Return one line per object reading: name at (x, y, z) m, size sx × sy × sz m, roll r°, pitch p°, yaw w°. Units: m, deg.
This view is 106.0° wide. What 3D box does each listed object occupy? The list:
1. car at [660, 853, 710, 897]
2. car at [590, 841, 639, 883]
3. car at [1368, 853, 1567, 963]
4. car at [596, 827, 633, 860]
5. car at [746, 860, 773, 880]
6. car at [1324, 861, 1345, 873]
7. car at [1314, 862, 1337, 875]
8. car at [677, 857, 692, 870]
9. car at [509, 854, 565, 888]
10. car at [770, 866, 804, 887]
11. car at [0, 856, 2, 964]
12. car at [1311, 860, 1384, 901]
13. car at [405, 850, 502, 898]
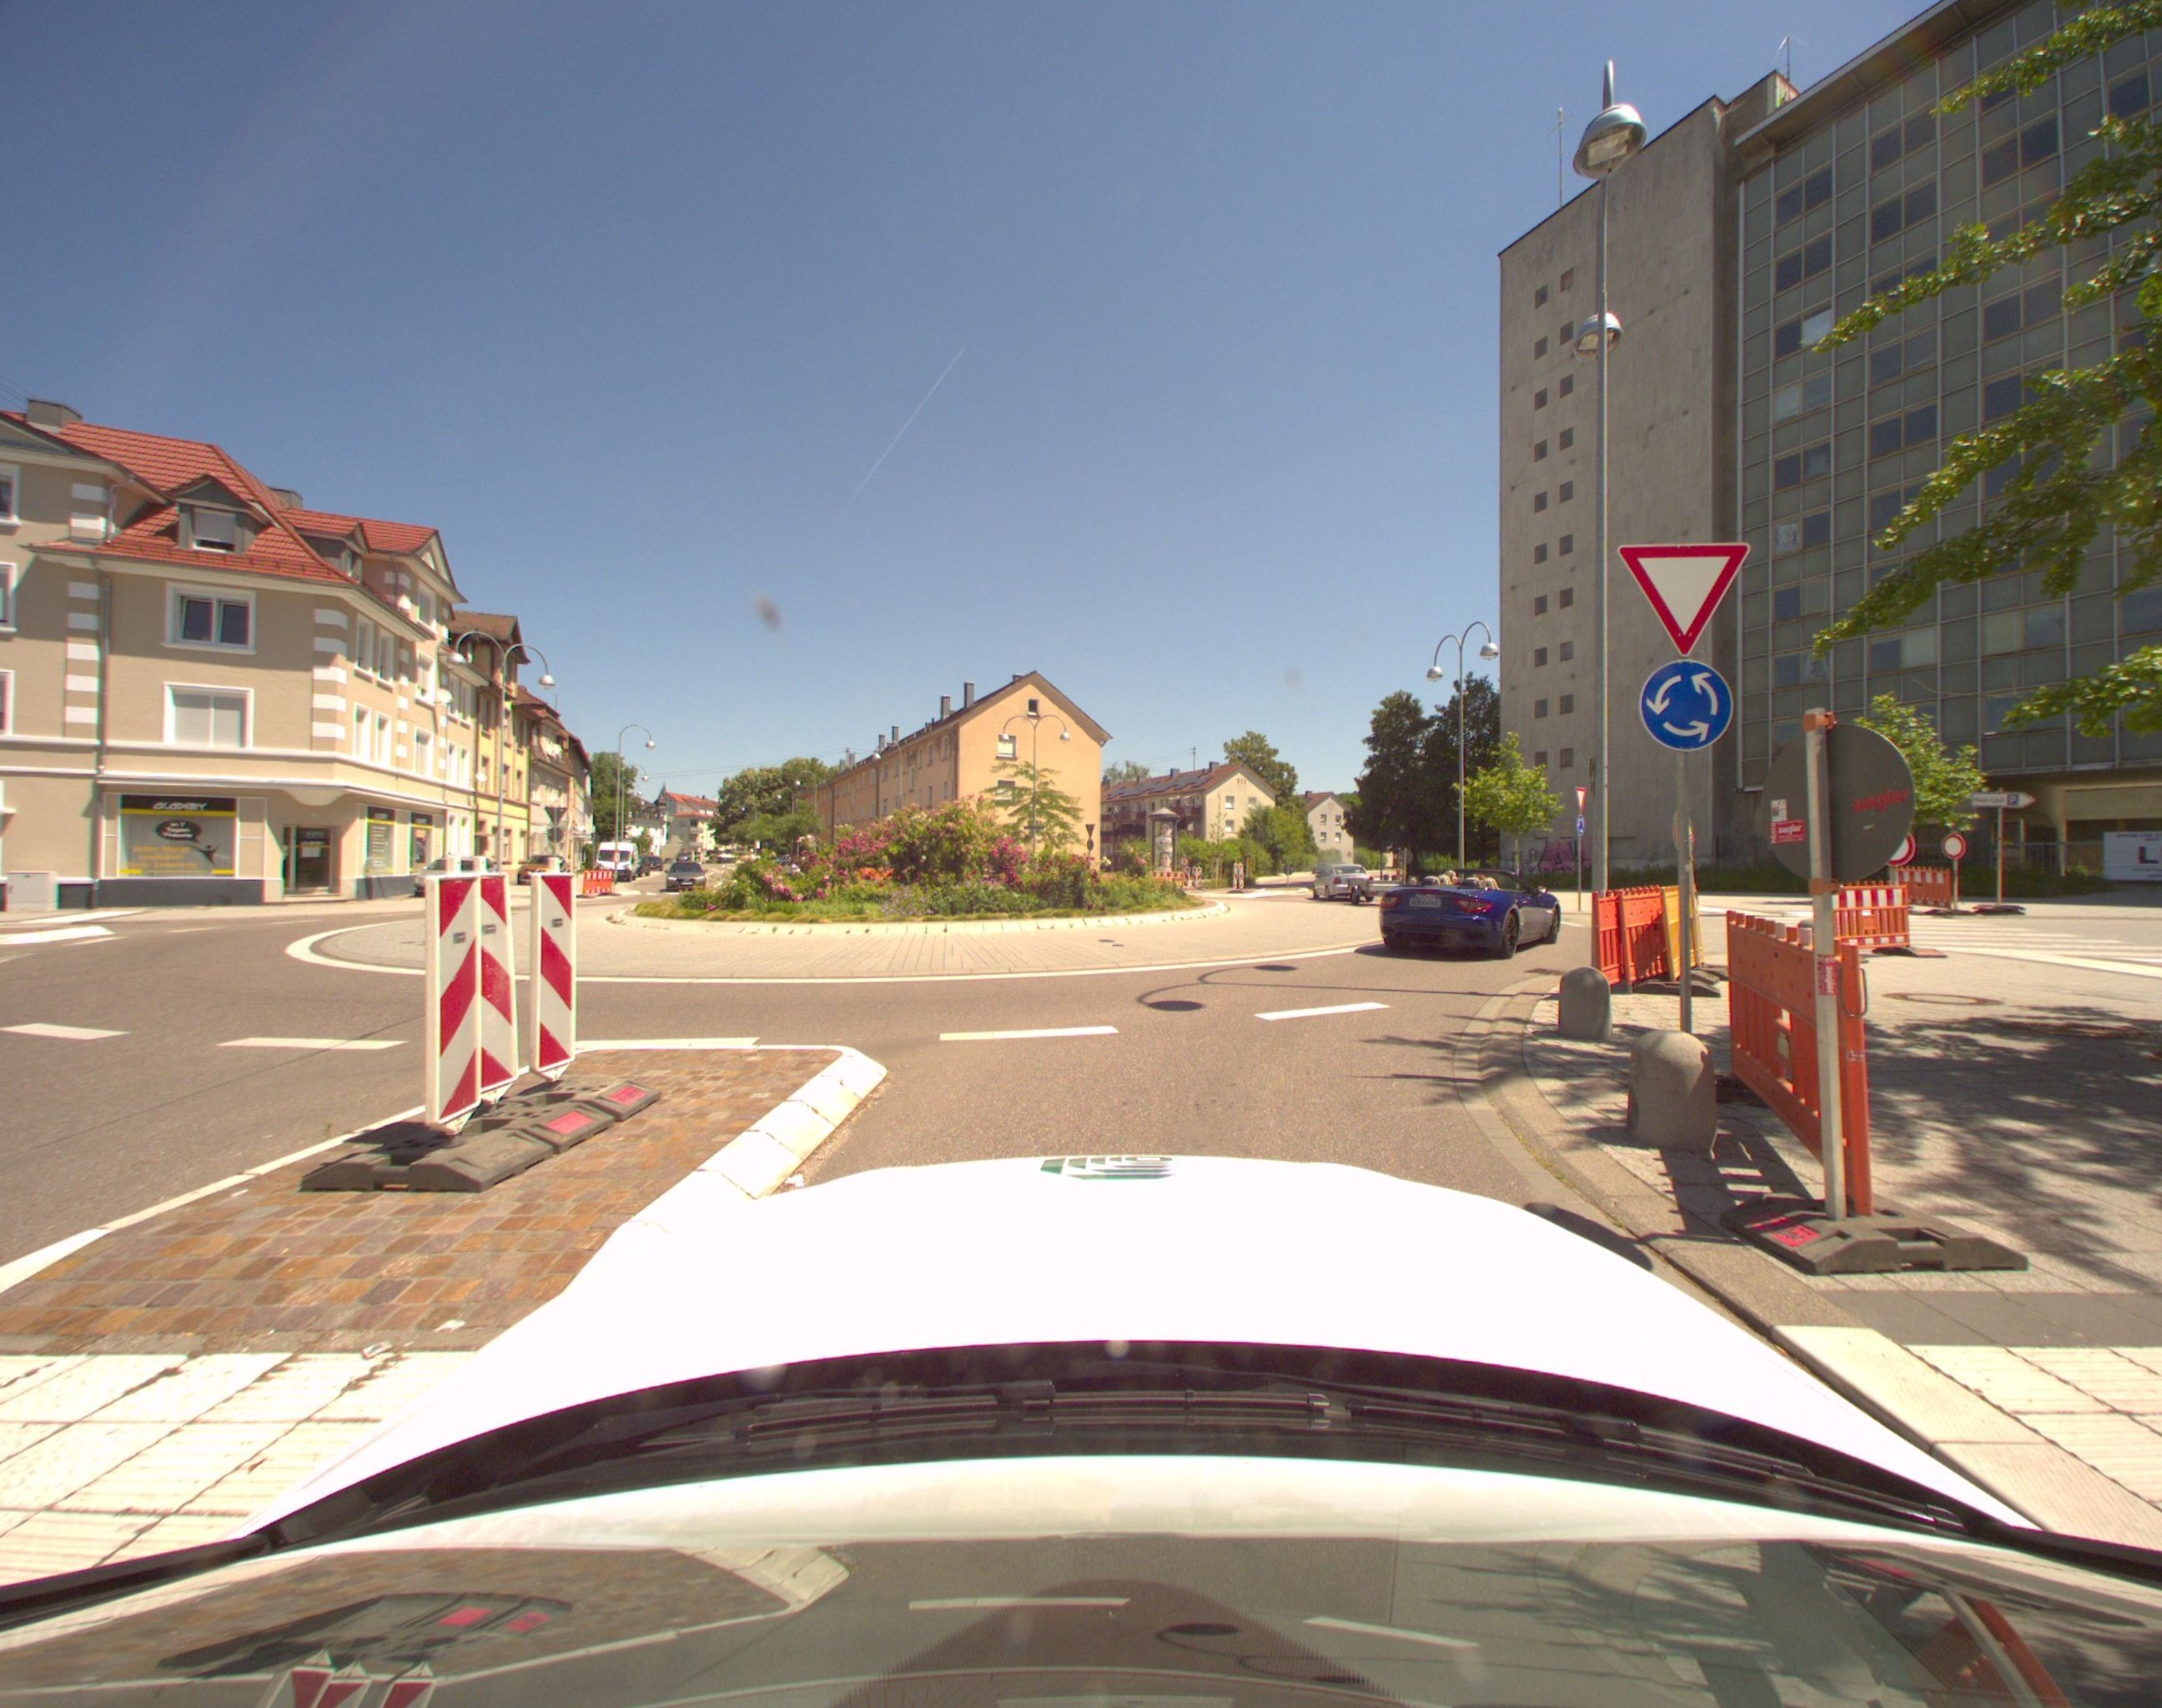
car at (-19.500, 1.030, 40.250) m, size 2.003 × 2.014 × 3.968 m, roll 2°, pitch -1°, yaw -24°
car at (-30.069, 0.537, 52.624) m, size 2.155 × 2.533 × 6.185 m, roll 3°, pitch -2°, yaw -25°
car at (6.592, 0.807, 13.608) m, size 1.853 × 1.530 × 4.534 m, roll -1°, pitch -2°, yaw 41°
car at (-38.437, -0.806, 67.239) m, size 2.155 × 2.533 × 4.814 m, roll 3°, pitch -2°, yaw -26°
car at (-30.115, 1.468, 76.124) m, size 1.823 × 1.794 × 3.963 m, roll 3°, pitch -2°, yaw -29°
car at (33.715, 1.734, 108.240) m, size 1.722 × 1.436 × 3.734 m, roll -2°, pitch -1°, yaw 30°
car at (28.949, 1.691, 96.489) m, size 1.722 × 1.436 × 3.734 m, roll -2°, pitch -1°, yaw 30°
car at (-58.228, 1.451, 119.585) m, size 1.823 × 1.794 × 3.963 m, roll 3°, pitch -2°, yaw -29°
car at (-28.193, 0.874, 42.330) m, size 1.605 × 1.617 × 4.060 m, roll 3°, pitch -2°, yaw -23°
car at (-22.328, 1.662, 61.799) m, size 1.823 × 1.500 × 3.963 m, roll 3°, pitch -2°, yaw -29°
car at (-17.414, 0.806, 10.569) m, size 4.108 × 1.551 × 1.784 m, roll 0°, pitch 0°, yaw -5°
car at (10.100, 0.958, 31.118) m, size 1.731 × 1.436 × 3.714 m, roll -1°, pitch -1°, yaw 4°
car at (-23.854, 0.732, 31.158) m, size 1.783 × 1.686 × 4.657 m, roll 1°, pitch -1°, yaw -23°
